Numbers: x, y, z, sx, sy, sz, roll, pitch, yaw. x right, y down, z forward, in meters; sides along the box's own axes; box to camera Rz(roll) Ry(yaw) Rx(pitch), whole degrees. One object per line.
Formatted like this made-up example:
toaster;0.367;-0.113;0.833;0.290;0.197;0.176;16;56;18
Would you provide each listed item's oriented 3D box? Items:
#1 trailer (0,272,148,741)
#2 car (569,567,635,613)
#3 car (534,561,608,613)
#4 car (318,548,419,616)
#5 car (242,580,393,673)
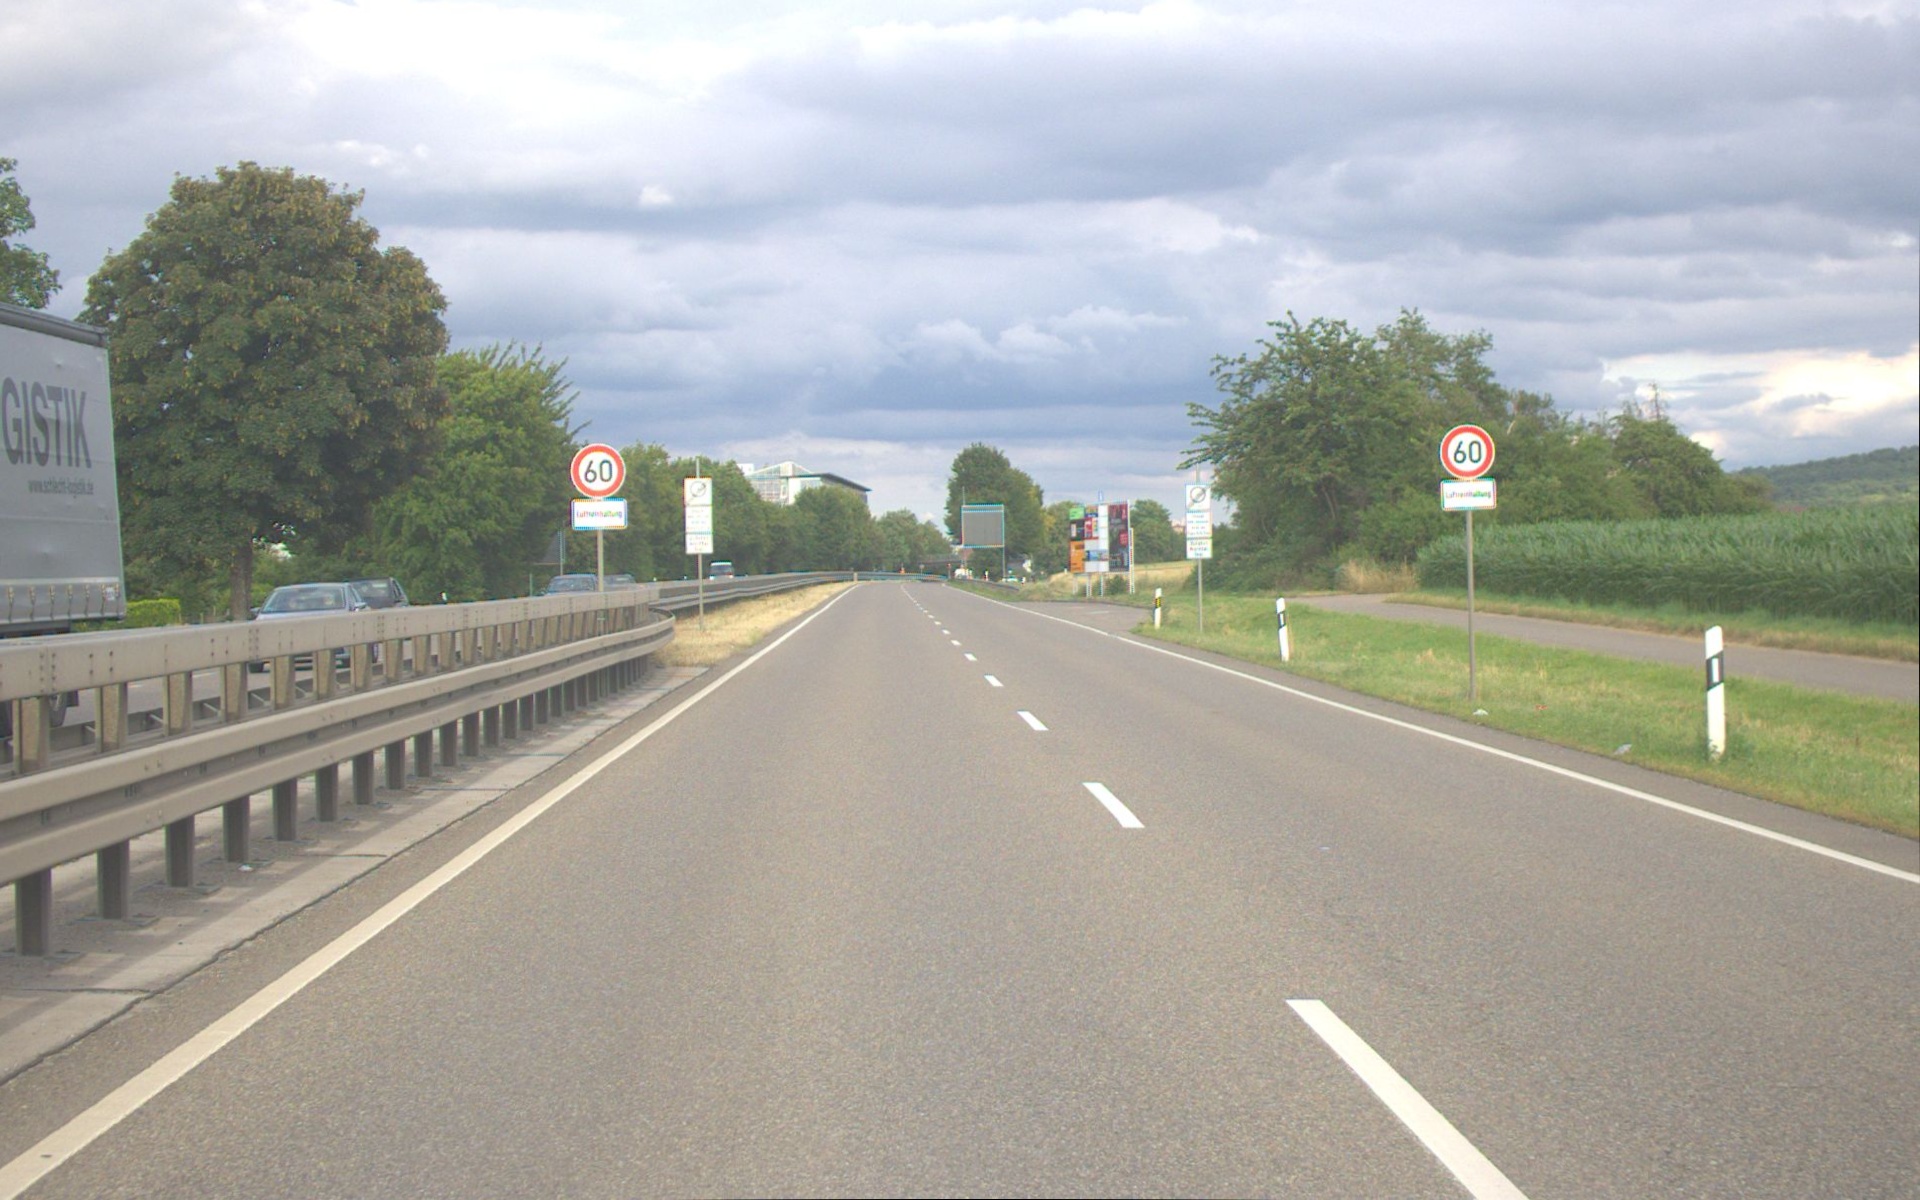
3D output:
trailer;-10.131;-0.736;28.723;3.465;4.136;13.917;-3;1;-1
car;-12.638;-0.371;121.596;1.866;1.472;4.936;-2;1;-1
car;-12.187;-0.425;107.983;1.866;1.472;4.826;-2;1;-1
car;-14.459;-0.459;84.236;1.789;1.568;4.161;-2;1;-1
car;-10.650;0.408;57.273;1.789;1.381;4.161;-2;1;-1
